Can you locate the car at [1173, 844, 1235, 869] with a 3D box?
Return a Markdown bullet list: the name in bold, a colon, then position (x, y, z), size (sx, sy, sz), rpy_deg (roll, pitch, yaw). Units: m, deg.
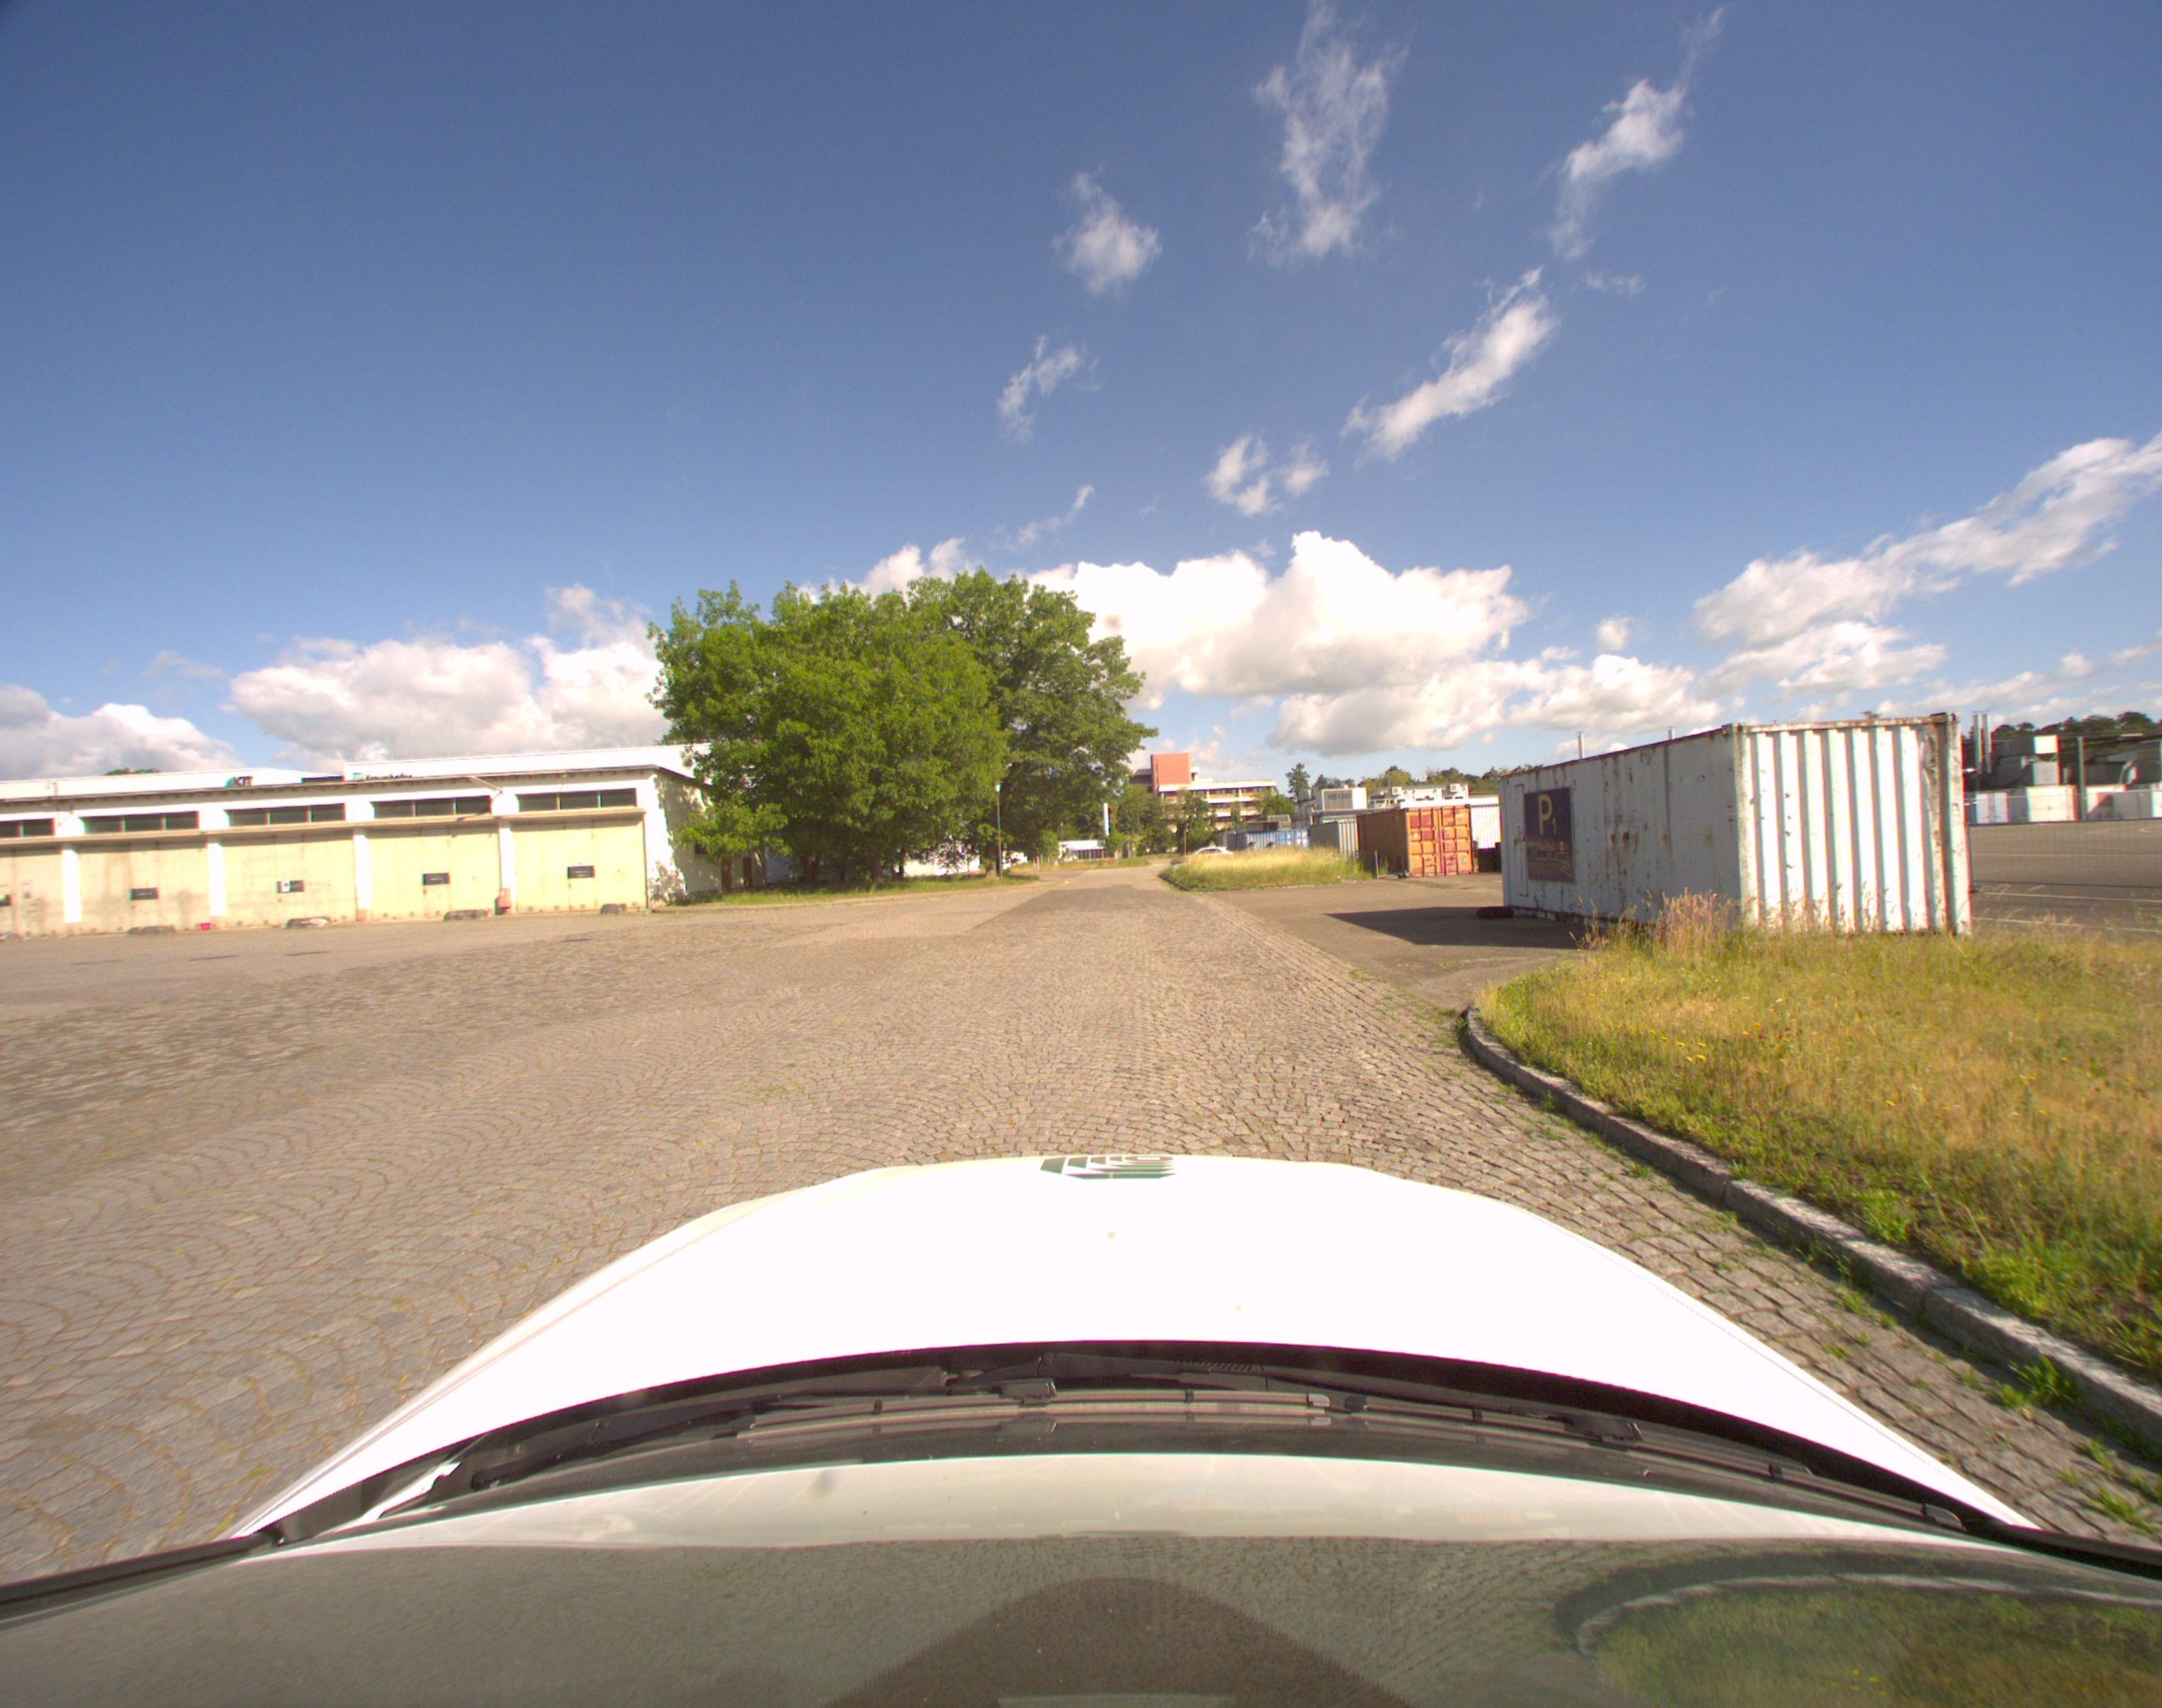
- **car**: position (9.508, 0.176, 63.348), size (4.489, 1.647, 2.000), rpy_deg (-3, 0, 1)
